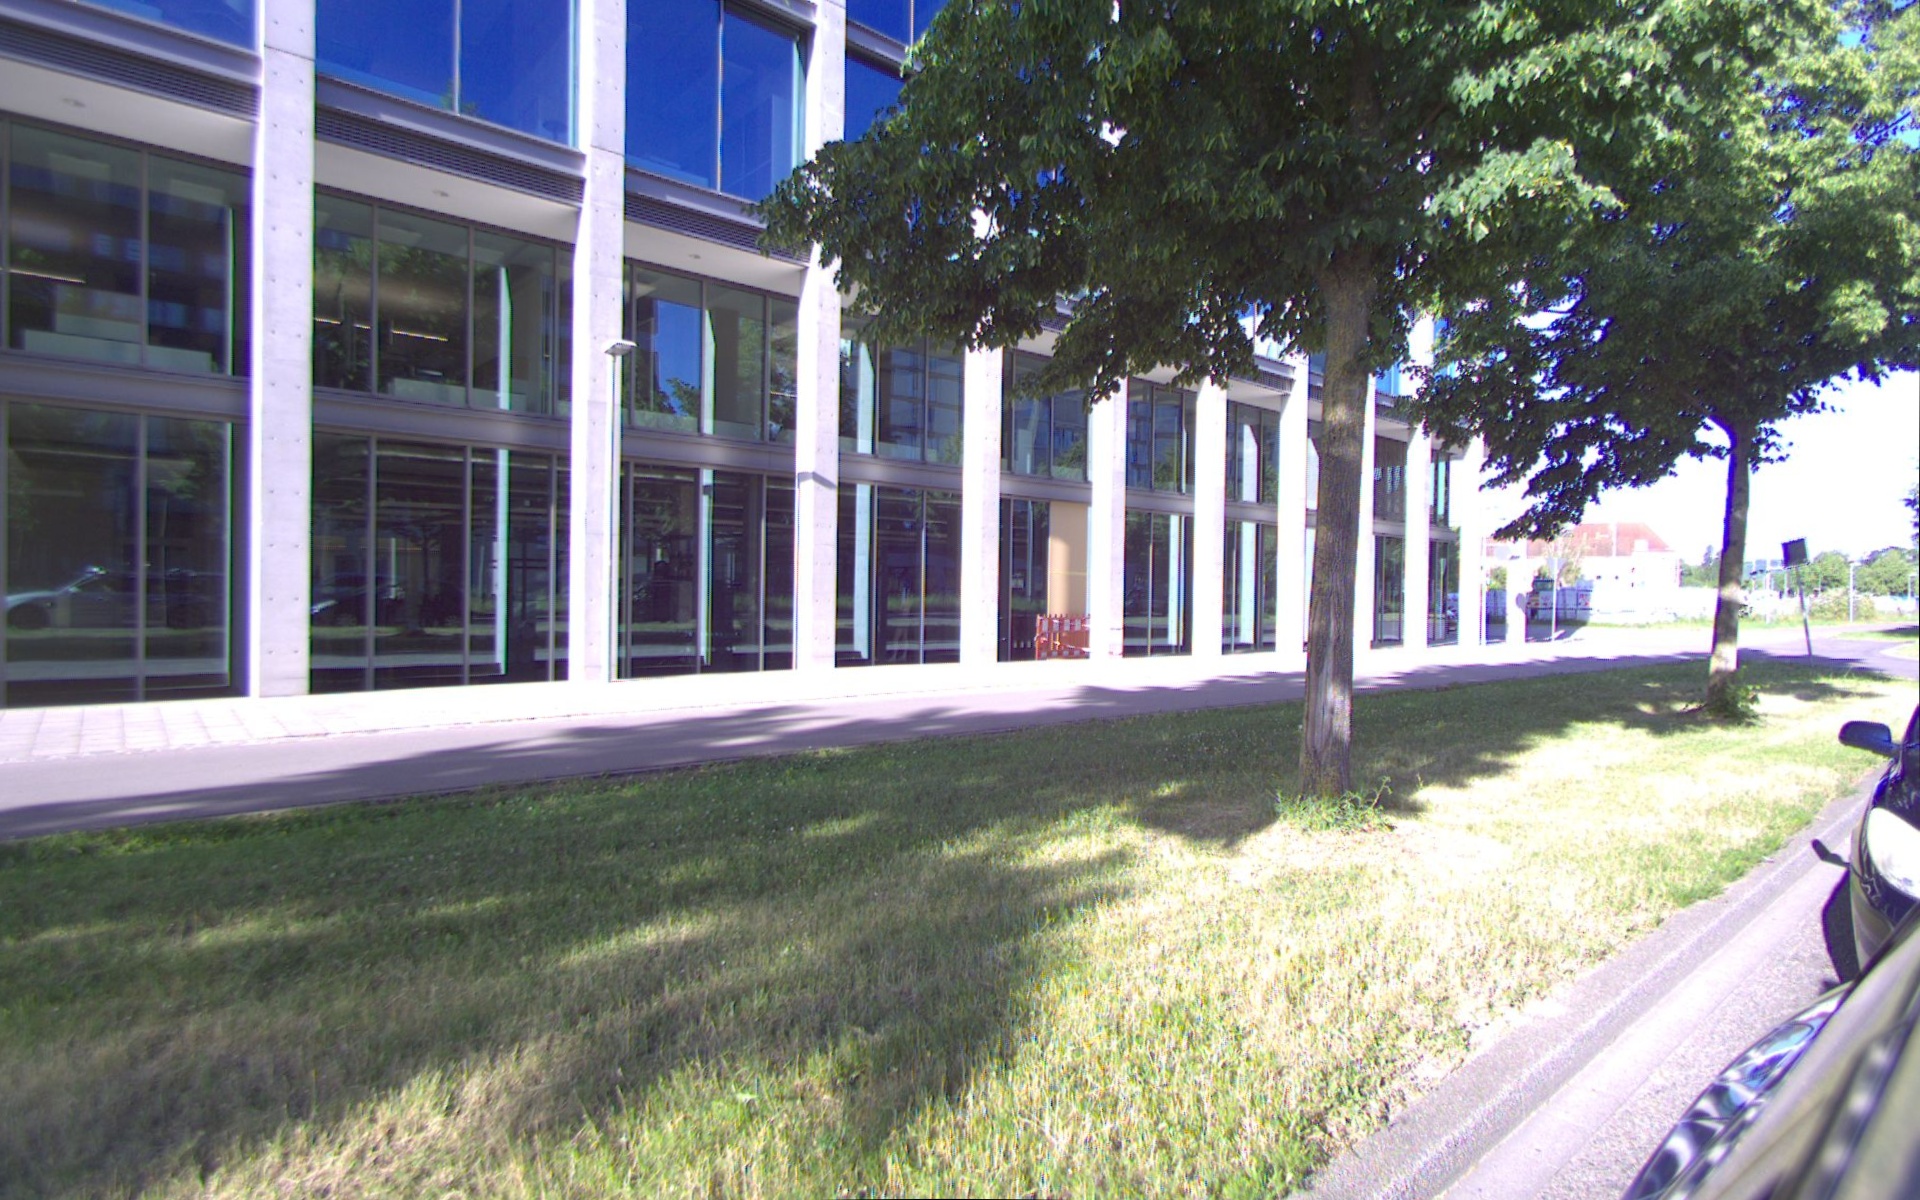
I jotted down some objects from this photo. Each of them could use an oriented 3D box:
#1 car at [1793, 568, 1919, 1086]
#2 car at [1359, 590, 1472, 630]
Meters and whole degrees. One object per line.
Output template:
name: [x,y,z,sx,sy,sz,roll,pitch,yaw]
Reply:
car: [4.852,0.666,3.891,4.403,1.500,1.845,0,1,-41]
car: [19.510,0.398,43.486,1.963,1.598,3.997,0,1,-38]
